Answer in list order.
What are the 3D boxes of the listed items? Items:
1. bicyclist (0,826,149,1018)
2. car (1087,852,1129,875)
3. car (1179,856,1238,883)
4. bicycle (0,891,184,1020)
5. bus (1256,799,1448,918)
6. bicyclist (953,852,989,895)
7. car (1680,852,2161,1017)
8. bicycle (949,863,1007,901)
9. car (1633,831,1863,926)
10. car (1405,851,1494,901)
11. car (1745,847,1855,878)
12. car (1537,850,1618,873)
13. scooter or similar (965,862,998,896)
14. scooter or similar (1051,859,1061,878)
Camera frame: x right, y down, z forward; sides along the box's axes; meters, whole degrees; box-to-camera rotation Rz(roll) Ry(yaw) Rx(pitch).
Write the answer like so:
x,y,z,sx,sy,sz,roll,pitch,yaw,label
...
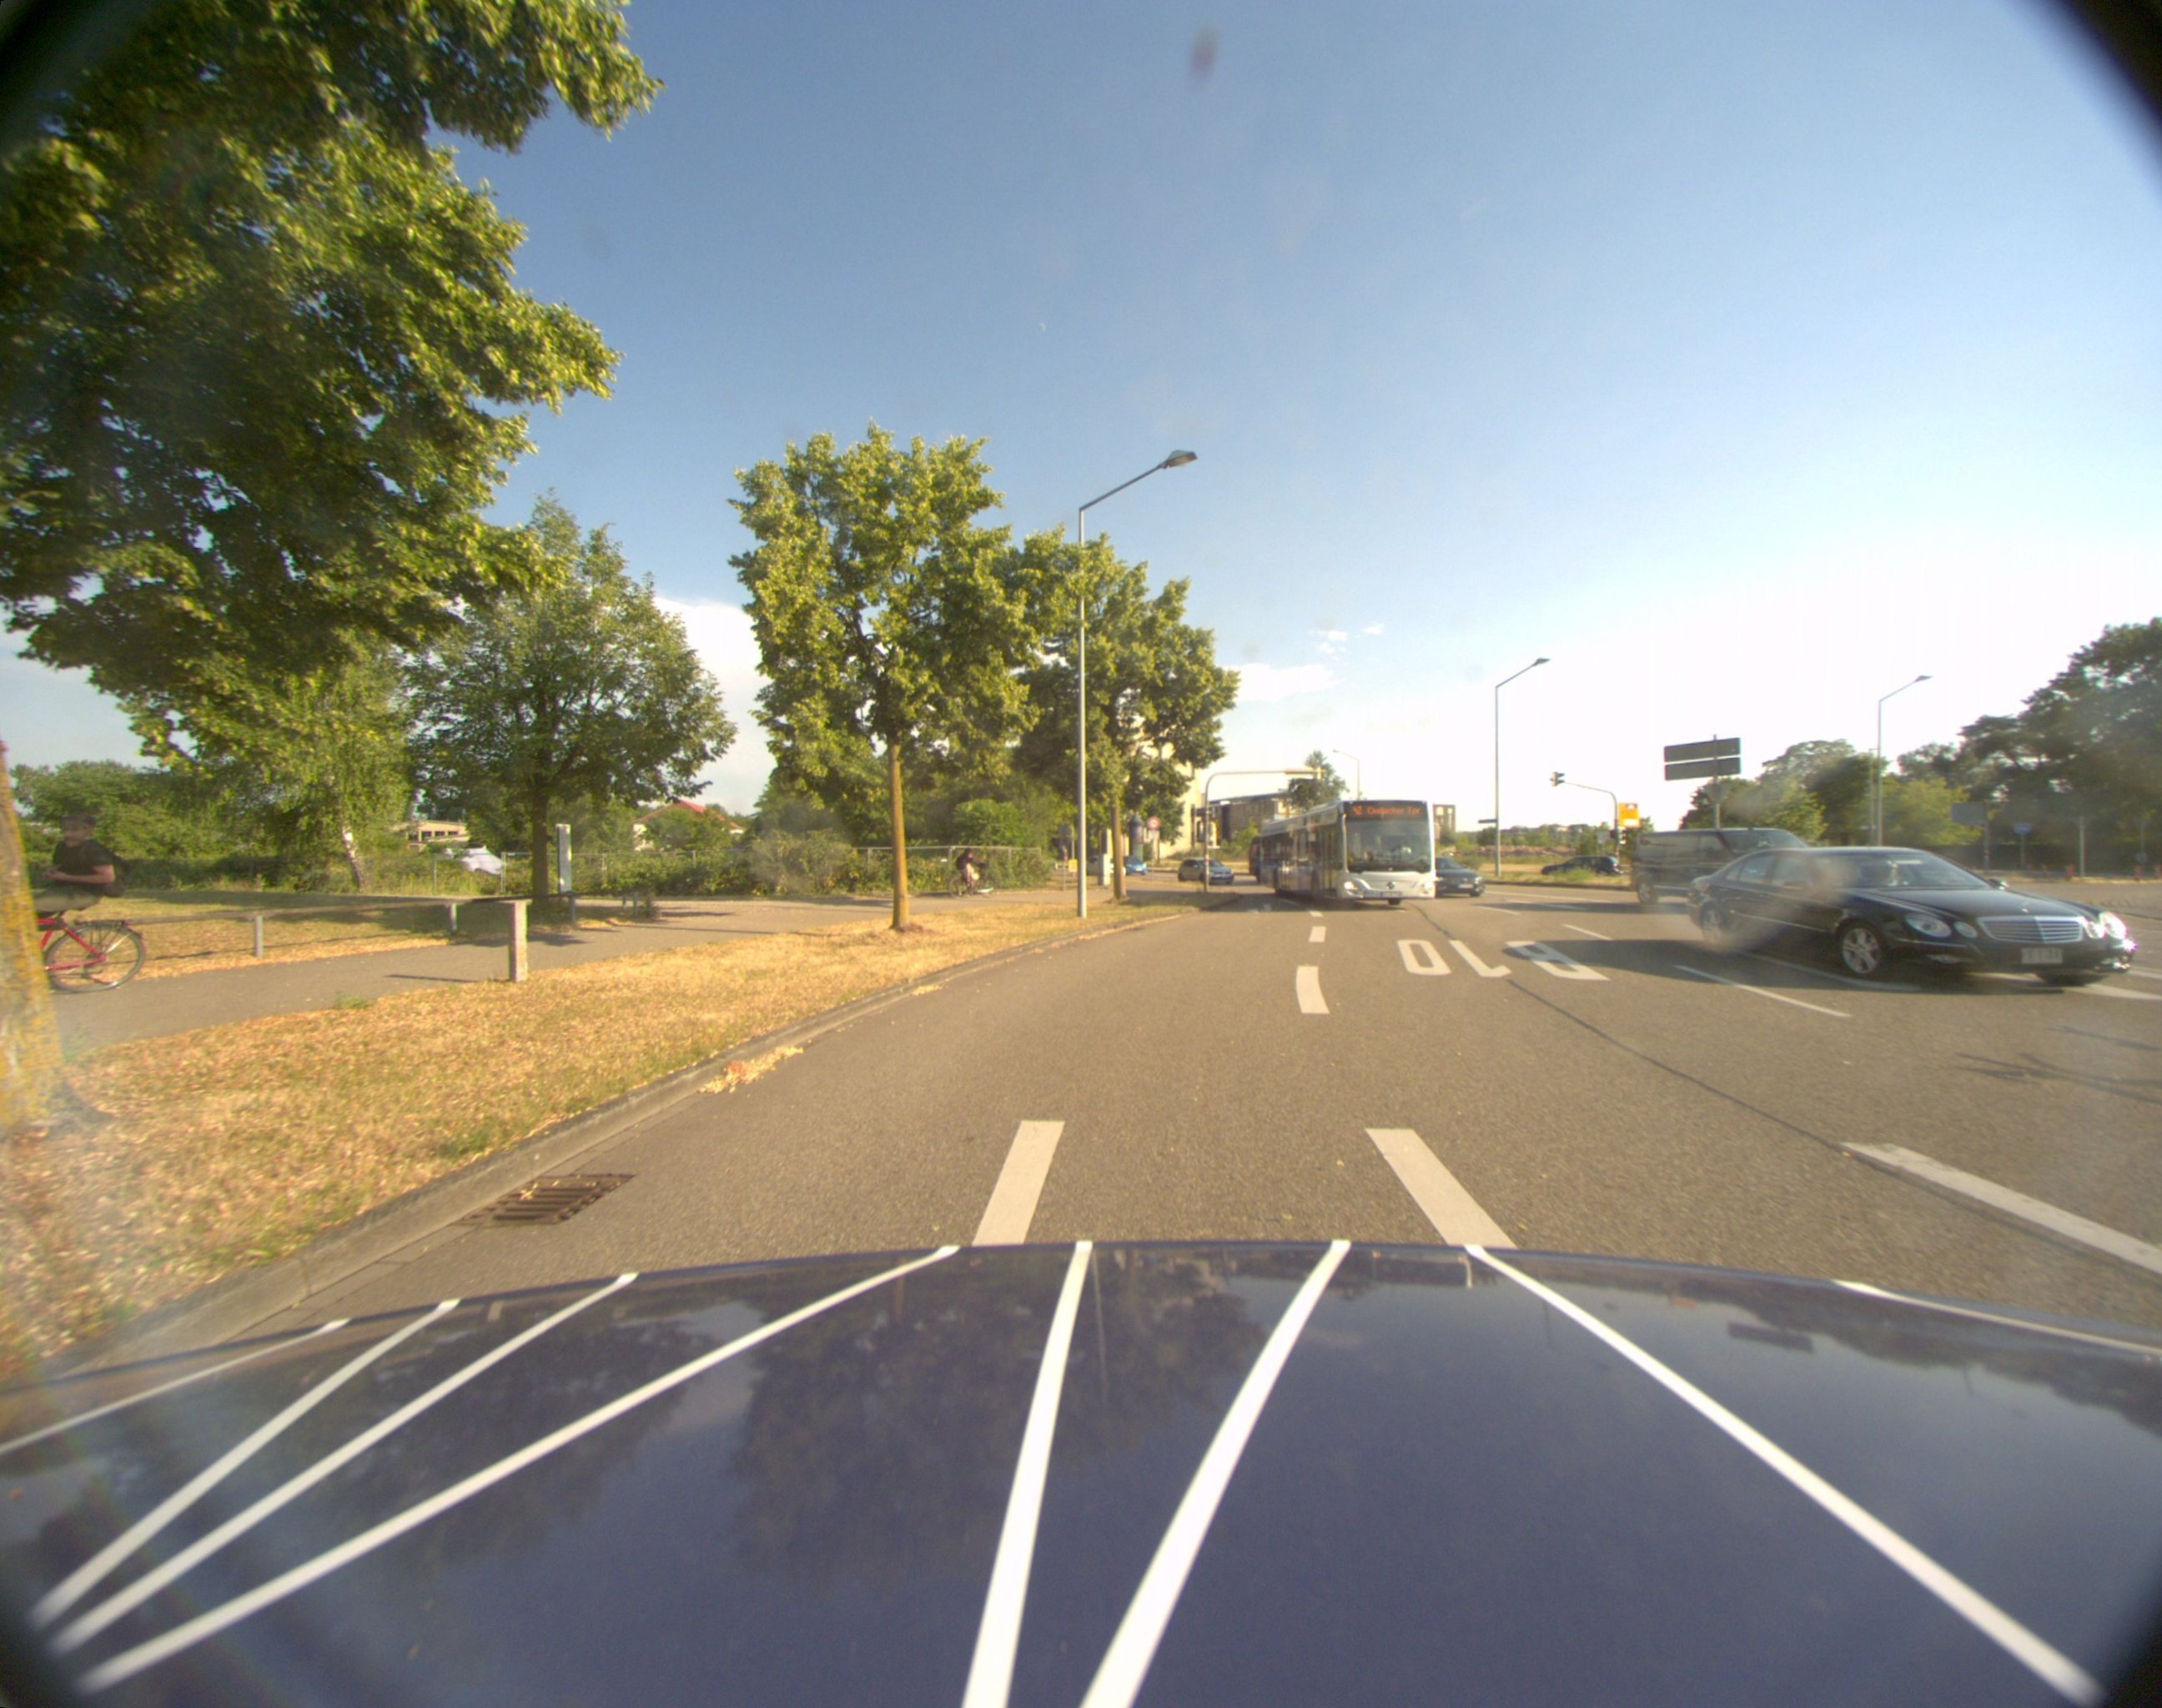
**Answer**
x,y,z,sx,sy,sz,roll,pitch,yaw,label
-10.221,0.646,7.704,0.619,1.819,0.831,1,1,23,bicyclist
1.949,0.663,55.386,1.588,1.553,3.619,-1,0,-25,car
7.079,0.818,42.392,1.587,1.415,3.620,-1,0,-22,car
-10.317,0.992,7.472,0.415,1.151,1.894,1,1,20,bicycle
8.365,0.047,25.556,2.594,3.025,11.719,-2,1,2,bus
-3.531,0.603,24.447,0.982,1.355,0.557,-1,1,-38,bicyclist
9.400,0.735,9.092,1.808,1.428,4.498,-2,0,14,car
-3.319,0.886,24.579,1.832,1.149,0.490,-1,-3,-37,bicycle
15.560,0.462,18.168,1.859,1.921,5.016,-1,1,11,car
13.012,0.716,27.106,1.808,1.501,4.164,-2,1,11,car
36.515,0.405,38.718,3.932,1.516,1.660,0,0,38,car
29.623,0.413,45.388,1.484,1.341,3.819,-1,1,-45,car
-3.469,0.854,26.559,0.341,1.153,1.173,1,1,44,scooter or similar
-1.494,0.853,45.392,0.249,1.119,1.093,2,0,-19,scooter or similar
